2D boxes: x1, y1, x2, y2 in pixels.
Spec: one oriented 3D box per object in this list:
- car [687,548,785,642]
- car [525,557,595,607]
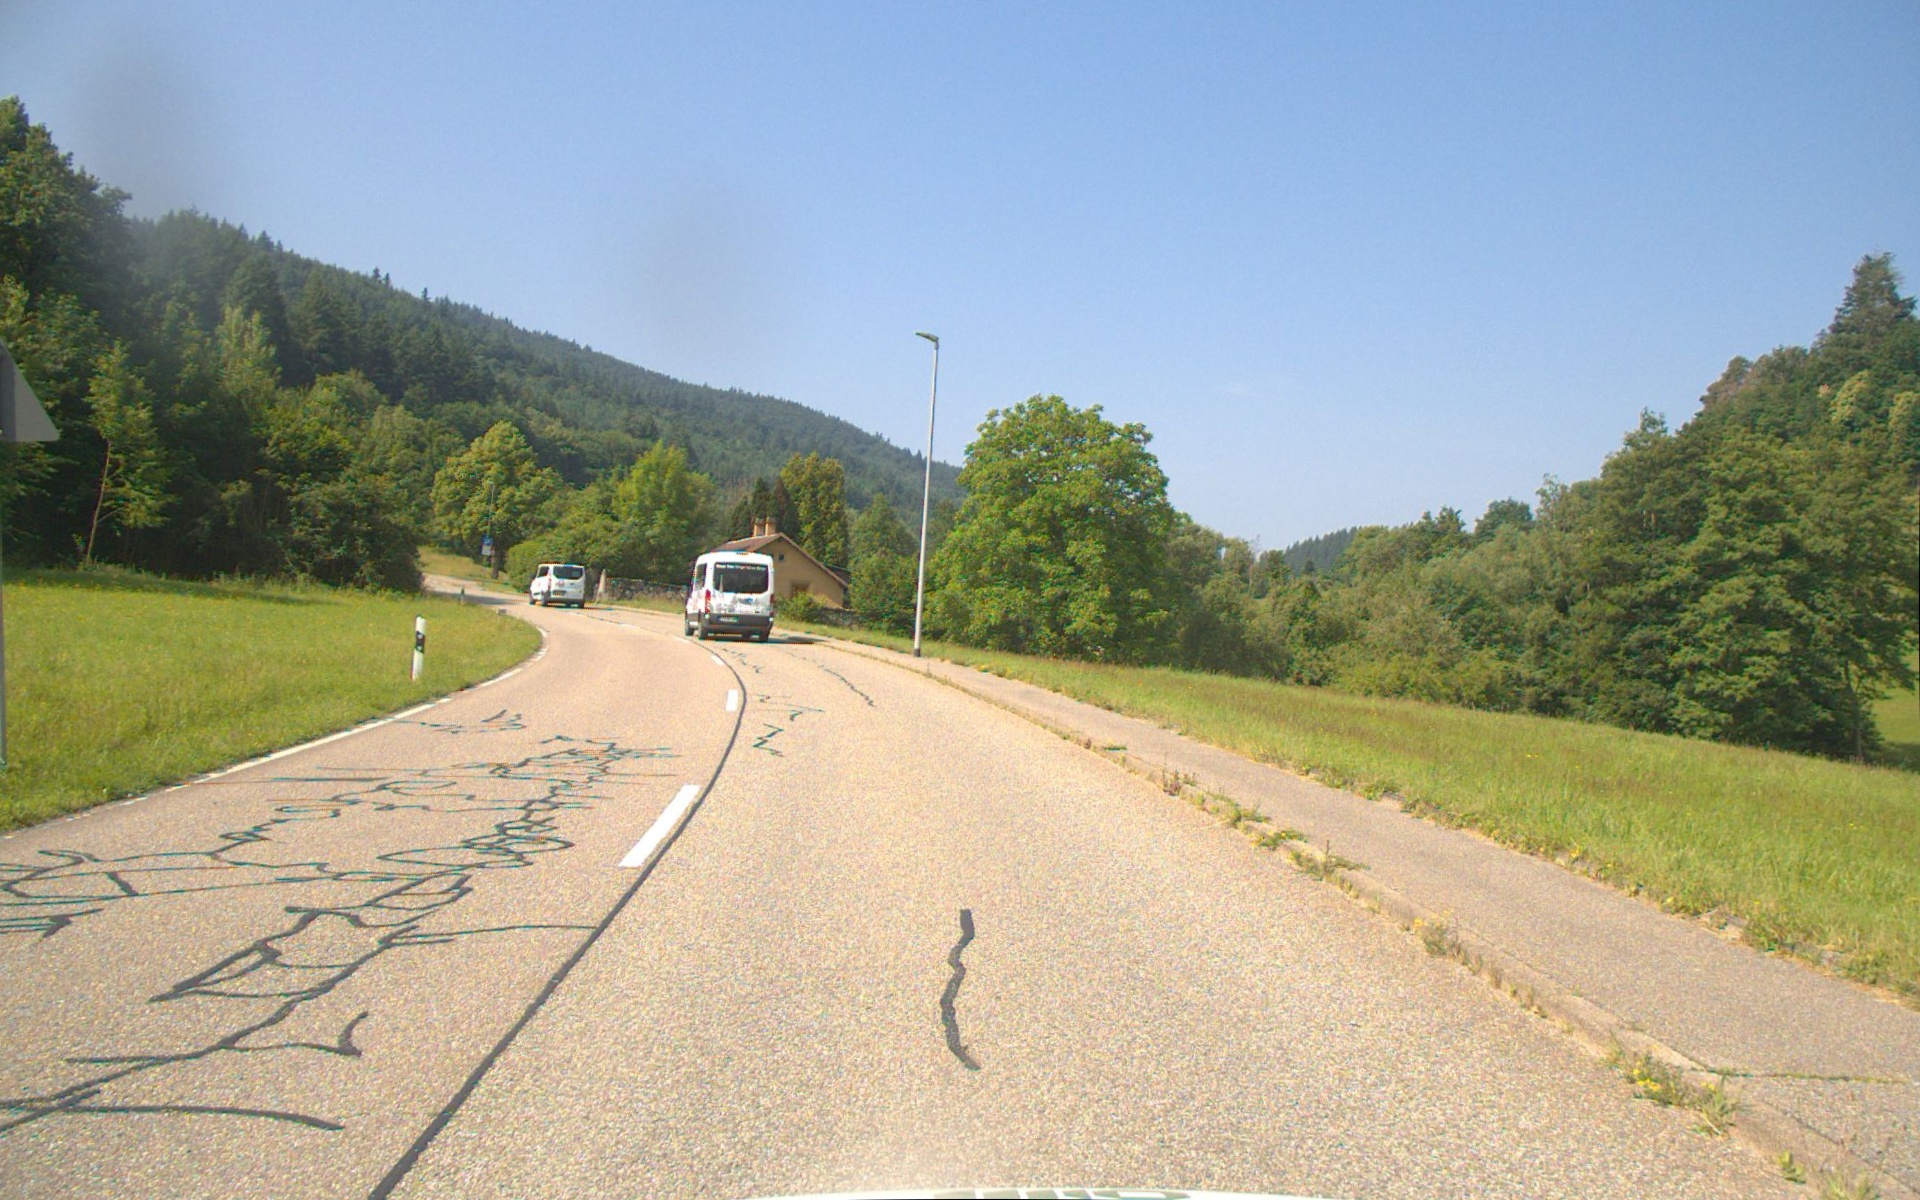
[{"bbox_3d":[-6.584,-0.159,48.203,2.186,2.570,4.964,-1,0,-15],"label":"car"},{"bbox_3d":[-19.070,-0.834,78.701,2.196,2.327,4.942,-1,0,-26],"label":"car"}]
